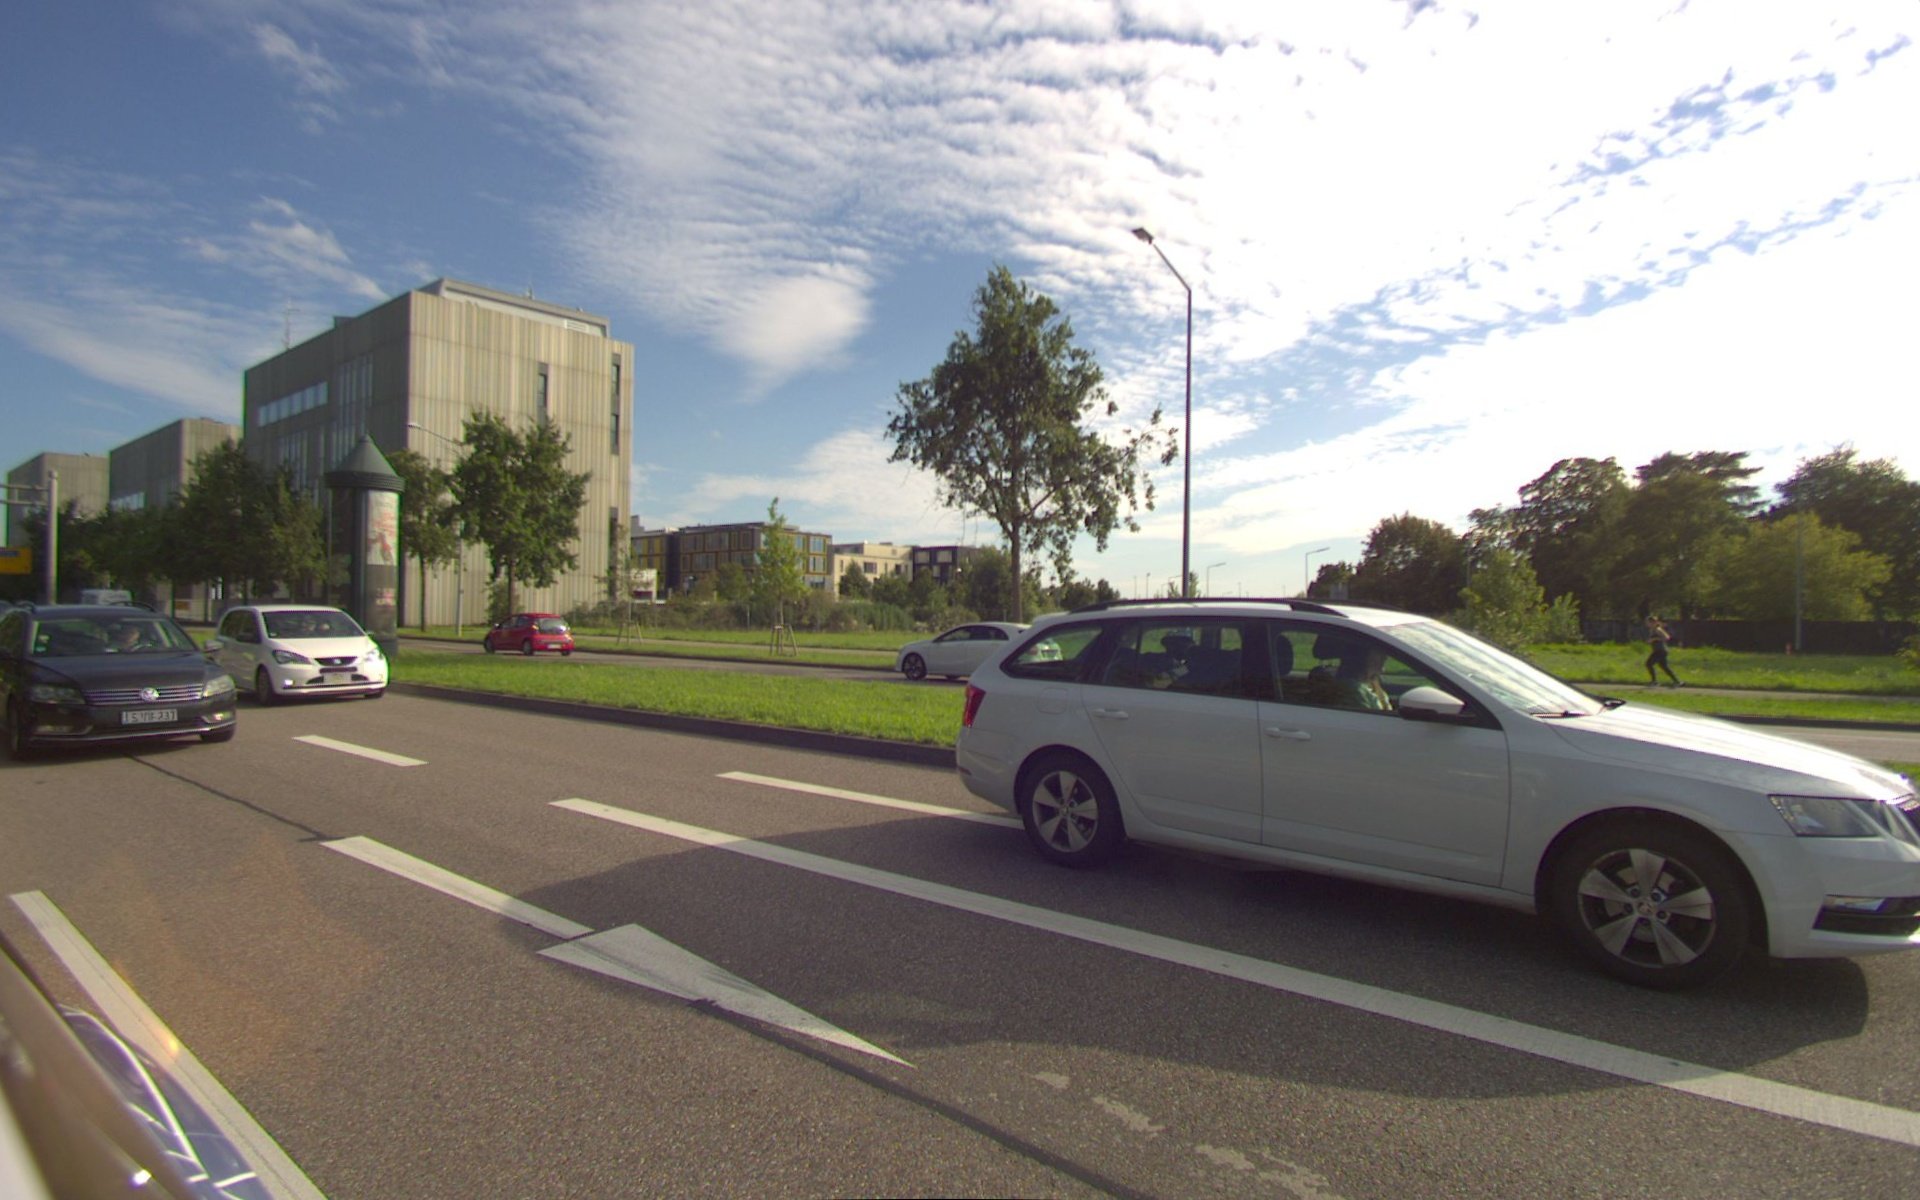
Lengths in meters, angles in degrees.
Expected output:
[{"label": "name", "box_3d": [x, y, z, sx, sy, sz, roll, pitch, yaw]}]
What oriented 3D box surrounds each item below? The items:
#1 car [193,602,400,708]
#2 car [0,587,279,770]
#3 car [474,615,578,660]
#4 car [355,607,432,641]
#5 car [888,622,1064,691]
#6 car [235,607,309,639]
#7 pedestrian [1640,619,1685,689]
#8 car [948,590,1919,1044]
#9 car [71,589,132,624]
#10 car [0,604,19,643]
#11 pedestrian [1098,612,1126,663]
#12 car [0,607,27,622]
[{"label": "car", "box_3d": [-10.500, 0.770, 15.939, 3.657, 1.475, 1.744, 0, 0, 40]}, {"label": "car", "box_3d": [-9.452, 0.684, 11.183, 4.841, 1.578, 1.973, 0, 1, 41]}, {"label": "car", "box_3d": [-15.022, 1.272, 34.951, 3.582, 1.445, 1.665, 0, -2, 35]}, {"label": "car", "box_3d": [-28.179, 1.163, 50.321, 4.451, 1.584, 1.832, 0, -3, 40]}, {"label": "car", "box_3d": [0.332, 1.280, 23.940, 3.988, 1.445, 1.664, 0, -2, 37]}, {"label": "car", "box_3d": [-32.860, 1.089, 48.304, 4.064, 1.445, 1.832, 0, -3, 40]}, {"label": "pedestrian", "box_3d": [15.889, 1.205, 22.883, 0.756, 1.519, 0.620, 0, 1, 42]}, {"label": "car", "box_3d": [2.259, 0.706, 5.210, 4.637, 1.456, 1.831, 0, 0, 42]}, {"label": "car", "box_3d": [-58.389, 0.451, 68.817, 5.534, 2.272, 2.007, 0, -3, 38]}, {"label": "car", "box_3d": [-36.879, 0.862, 38.022, 4.445, 1.431, 1.799, 0, 0, 41]}, {"label": "pedestrian", "box_3d": [4.946, 1.215, 32.945, 0.657, 1.642, 0.620, -1, -1, 42]}, {"label": "car", "box_3d": [-95.298, 1.457, 101.636, 4.451, 1.475, 1.832, 0, 0, 40]}]
